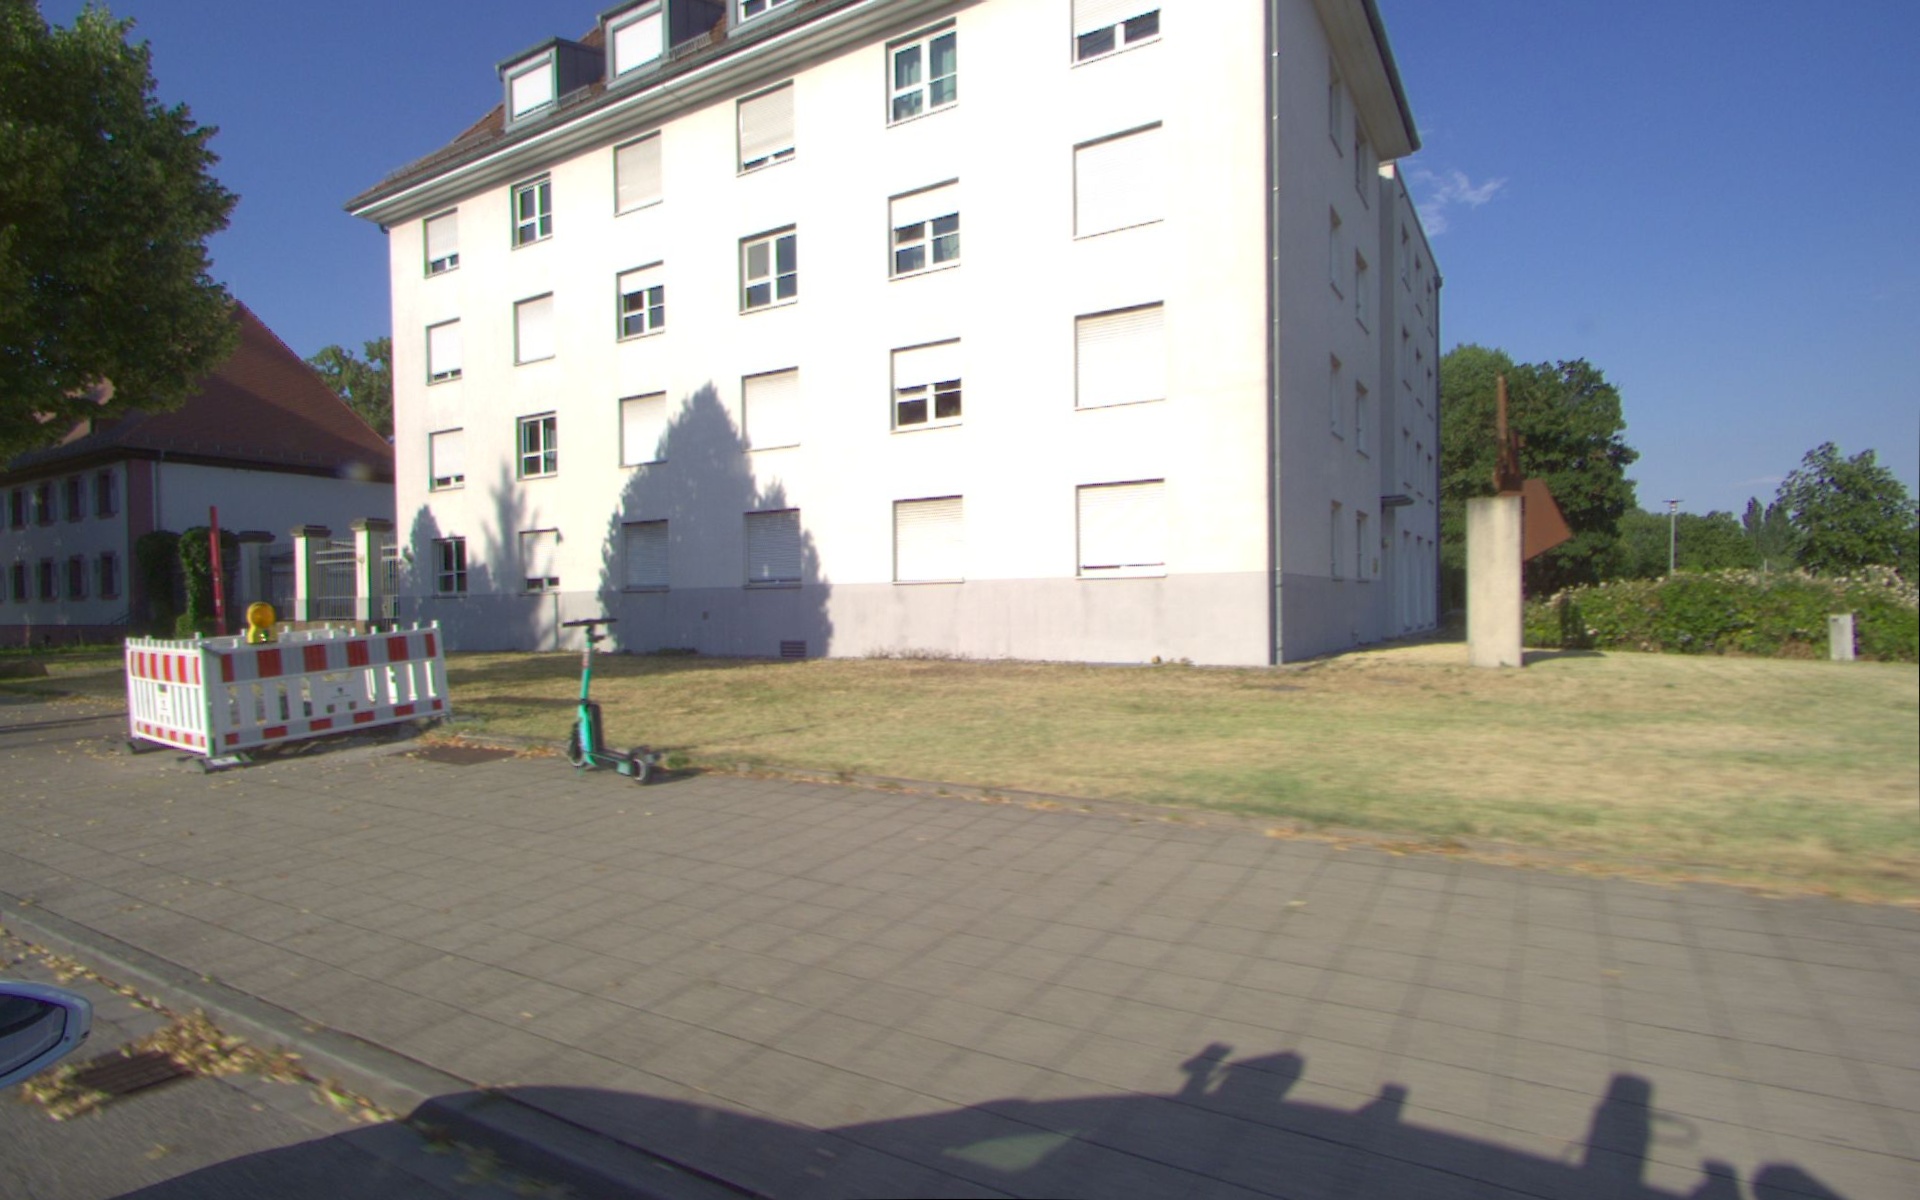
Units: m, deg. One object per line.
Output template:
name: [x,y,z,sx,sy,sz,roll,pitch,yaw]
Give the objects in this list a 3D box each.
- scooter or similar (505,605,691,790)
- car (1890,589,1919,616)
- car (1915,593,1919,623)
scooter or similar: [-2.861,0.716,7.892,1.442,1.311,0.557,0,4,32]
car: [62.198,0.117,63.041,4.986,1.725,2.257,-1,0,32]
car: [57.831,0.431,56.752,4.986,1.725,2.257,-1,0,32]
